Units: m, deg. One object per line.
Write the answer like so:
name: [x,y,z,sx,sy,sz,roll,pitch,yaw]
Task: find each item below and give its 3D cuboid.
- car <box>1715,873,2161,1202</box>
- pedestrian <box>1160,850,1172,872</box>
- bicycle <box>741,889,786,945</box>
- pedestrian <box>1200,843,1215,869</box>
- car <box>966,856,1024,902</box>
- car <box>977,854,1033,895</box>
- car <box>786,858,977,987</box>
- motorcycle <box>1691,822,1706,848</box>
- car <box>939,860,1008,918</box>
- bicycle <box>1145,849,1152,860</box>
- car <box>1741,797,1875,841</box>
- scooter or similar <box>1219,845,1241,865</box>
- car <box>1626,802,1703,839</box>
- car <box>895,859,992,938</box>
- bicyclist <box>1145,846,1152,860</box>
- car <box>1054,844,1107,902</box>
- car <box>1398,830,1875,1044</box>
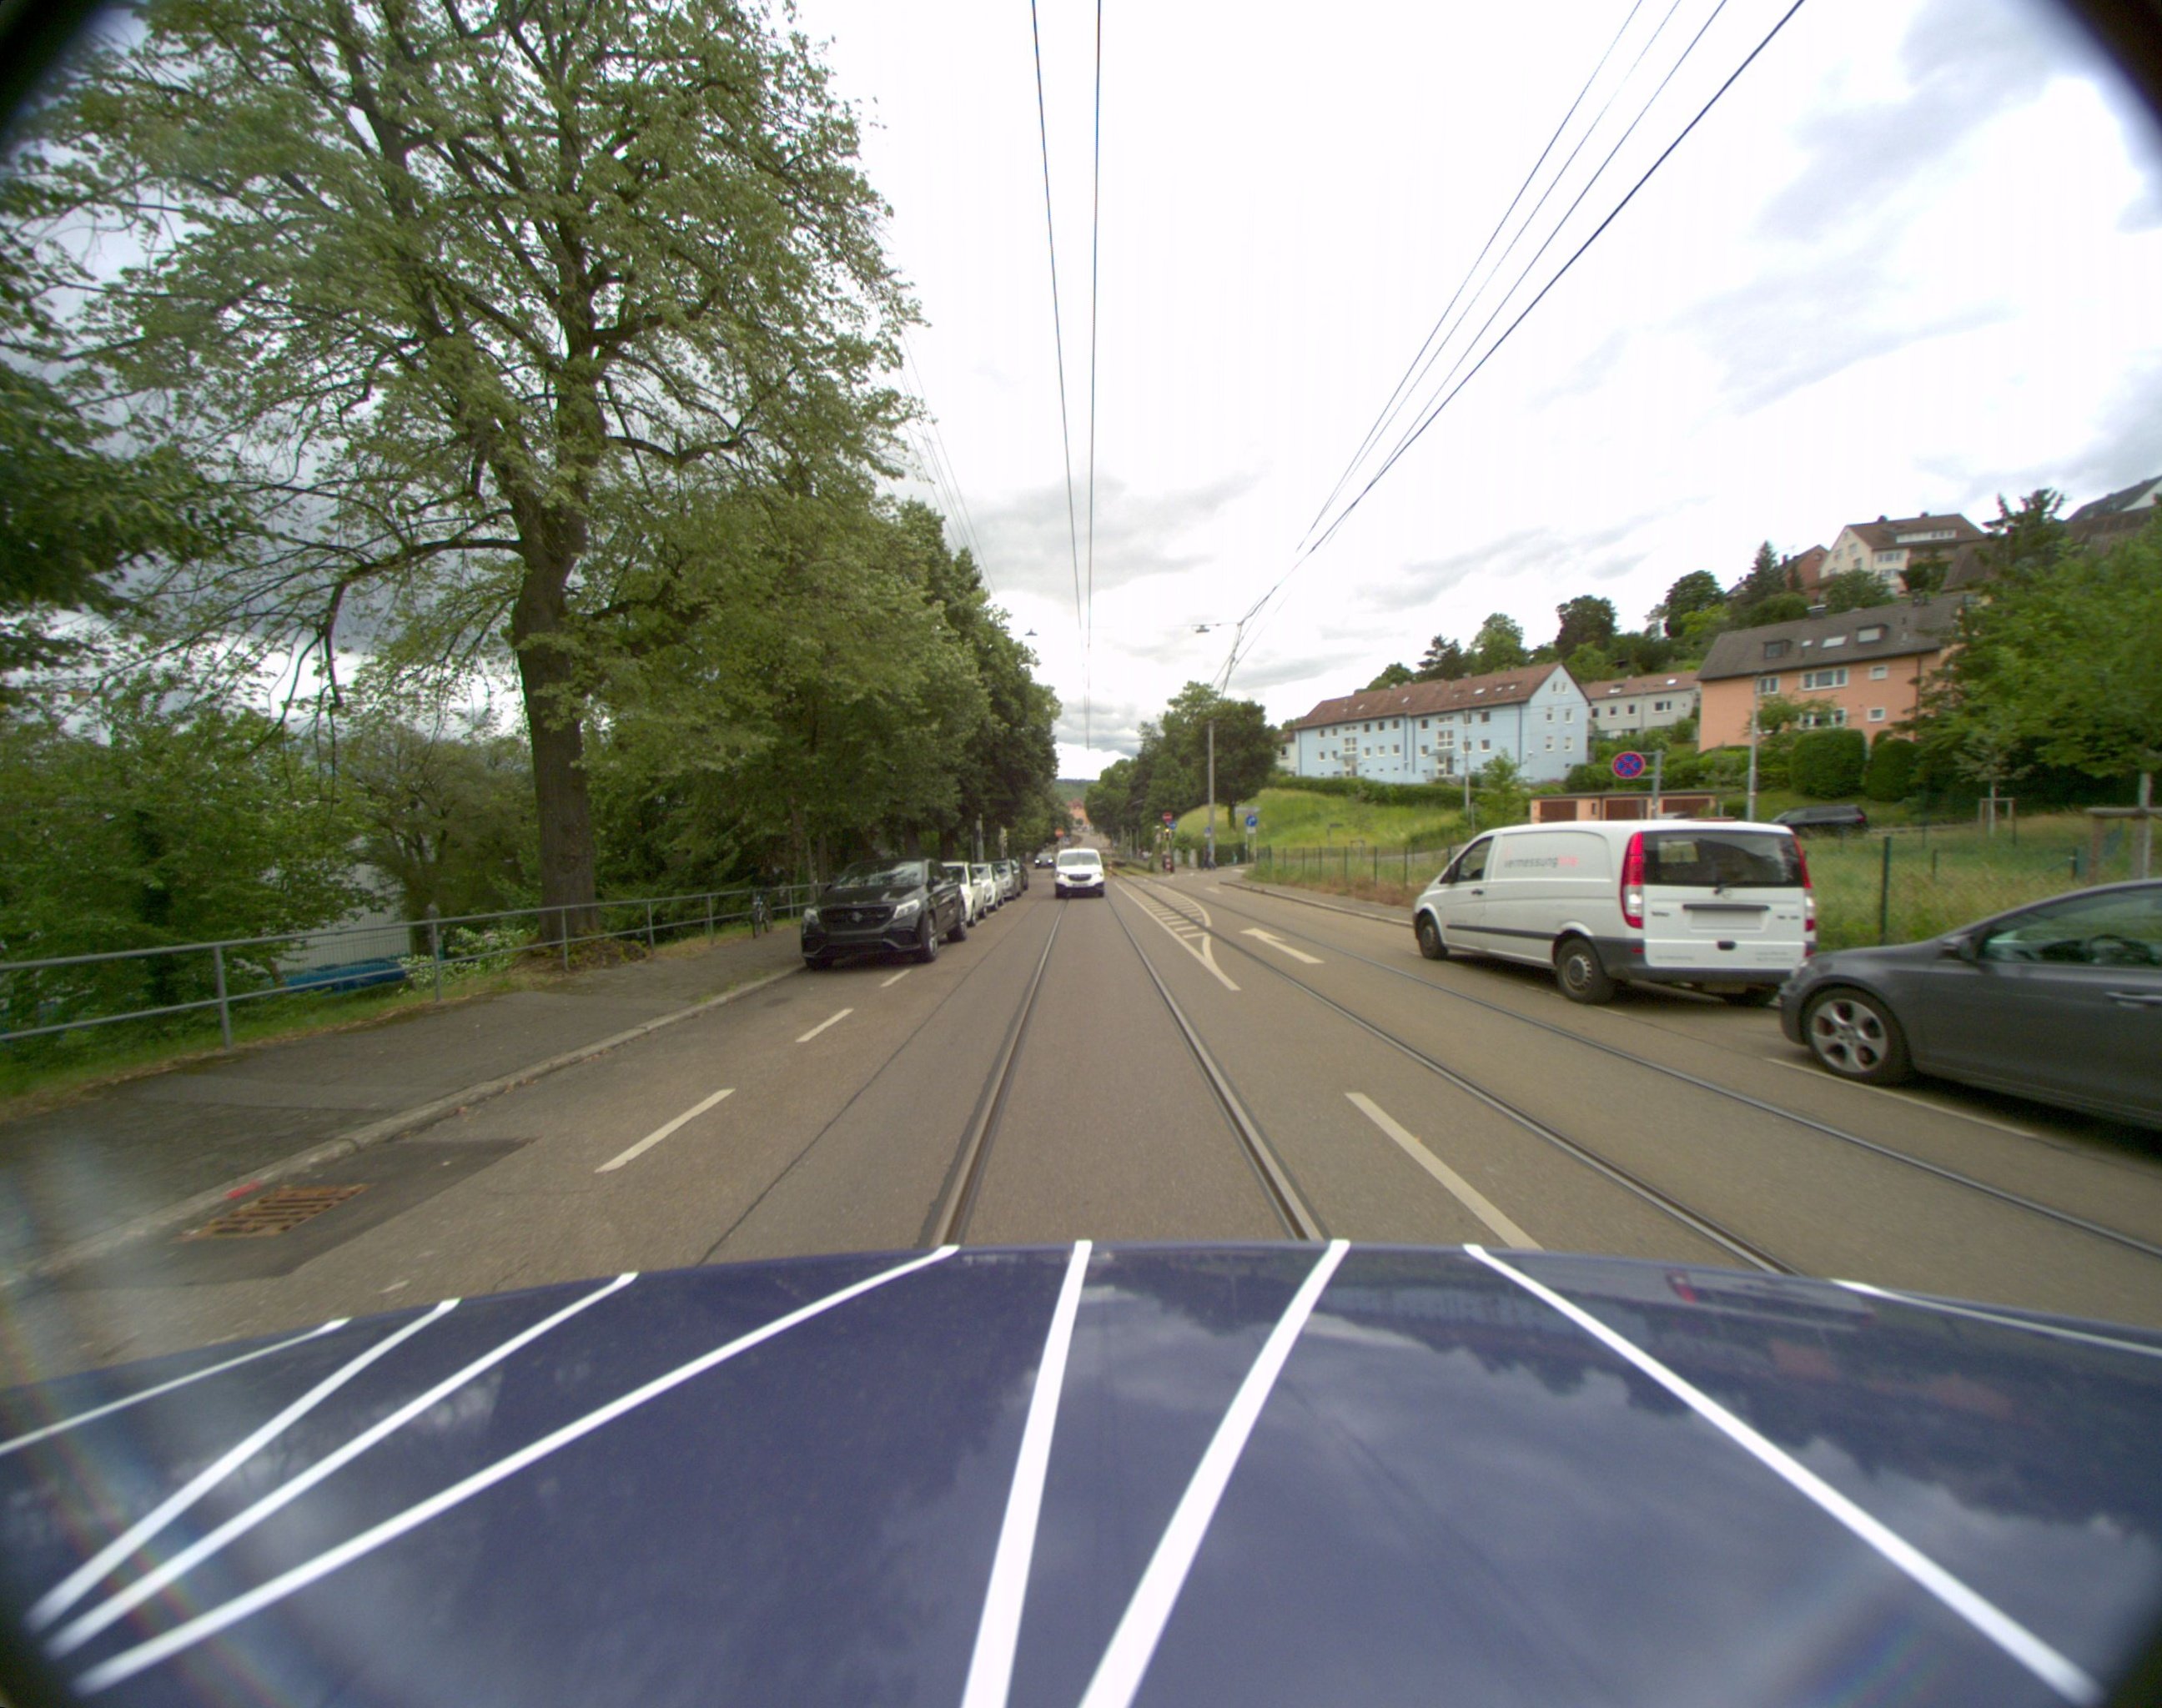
car: [5.943,0.888,3.729,1.901,1.424,4.511,-1,0,0]
pedestrian: [6.005,0.487,53.745,0.752,1.565,0.757,-2,2,7]
bicycle: [-6.641,1.282,15.938,0.428,0.970,1.793,-3,2,-10]
pedestrian: [8.990,0.130,53.996,0.901,1.740,0.743,-2,2,14]
car: [-3.299,0.912,29.960,1.738,1.566,4.364,-2,1,0]
car: [-3.423,0.876,35.044,1.909,1.606,4.600,-3,1,2]
car: [-3.225,1.006,13.487,1.882,1.668,5.062,-4,1,1]
motorcycle: [32.038,-0.998,39.429,0.520,1.151,1.707,-1,6,36]
car: [-3.373,1.056,24.538,1.633,1.508,4.063,-4,1,-1]
bicycle: [7.678,0.028,86.511,0.752,1.233,2.867,-3,0,4]
car: [35.259,-1.680,37.058,4.440,1.680,1.980,-5,0,38]
scooter or similar: [10.857,0.057,55.344,1.412,1.282,0.418,-6,2,1]
car: [34.146,-1.974,44.426,4.885,1.604,1.995,-9,5,-32]
car: [-3.446,1.050,19.782,1.730,1.622,4.087,-5,1,-1]
bicyclist: [7.708,-0.120,87.228,0.706,1.619,1.032,-3,0,3]
car: [-0.018,0.636,28.852,1.810,1.910,4.477,-2,1,0]
car: [5.921,0.682,9.145,2.041,1.871,4.883,1,1,-1]
